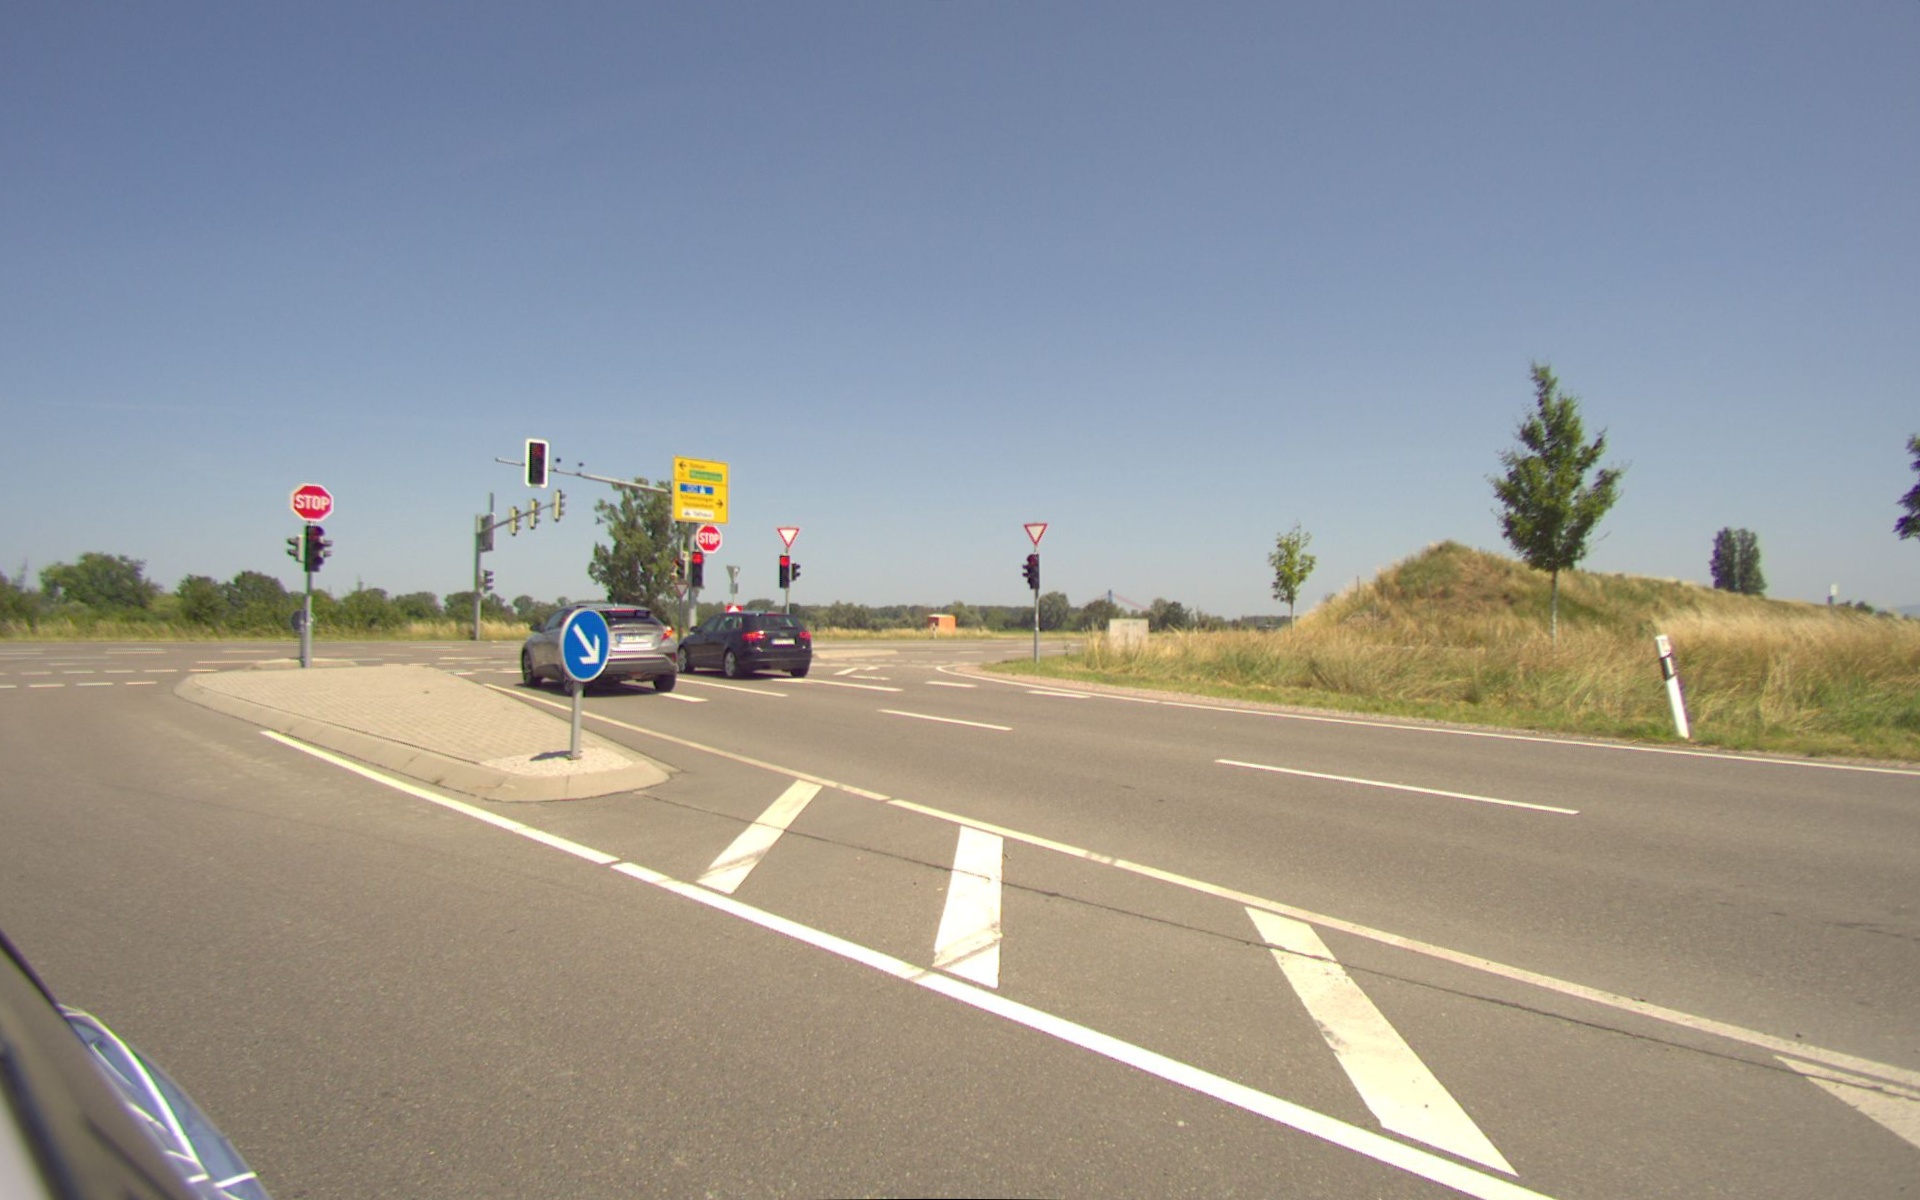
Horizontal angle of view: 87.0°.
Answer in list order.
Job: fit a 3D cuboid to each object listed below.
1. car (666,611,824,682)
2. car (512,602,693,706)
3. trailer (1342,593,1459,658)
[{"bbox_3d":[-4.778,0.985,22.046,1.747,1.379,4.284,0,-2,-36],"label":"car"},{"bbox_3d":[-6.483,0.837,18.024,1.841,1.555,4.562,0,0,-35],"label":"car"},{"bbox_3d":[33.674,1.970,76.977,12.675,4.577,3.396,2,-1,-43],"label":"trailer"}]
